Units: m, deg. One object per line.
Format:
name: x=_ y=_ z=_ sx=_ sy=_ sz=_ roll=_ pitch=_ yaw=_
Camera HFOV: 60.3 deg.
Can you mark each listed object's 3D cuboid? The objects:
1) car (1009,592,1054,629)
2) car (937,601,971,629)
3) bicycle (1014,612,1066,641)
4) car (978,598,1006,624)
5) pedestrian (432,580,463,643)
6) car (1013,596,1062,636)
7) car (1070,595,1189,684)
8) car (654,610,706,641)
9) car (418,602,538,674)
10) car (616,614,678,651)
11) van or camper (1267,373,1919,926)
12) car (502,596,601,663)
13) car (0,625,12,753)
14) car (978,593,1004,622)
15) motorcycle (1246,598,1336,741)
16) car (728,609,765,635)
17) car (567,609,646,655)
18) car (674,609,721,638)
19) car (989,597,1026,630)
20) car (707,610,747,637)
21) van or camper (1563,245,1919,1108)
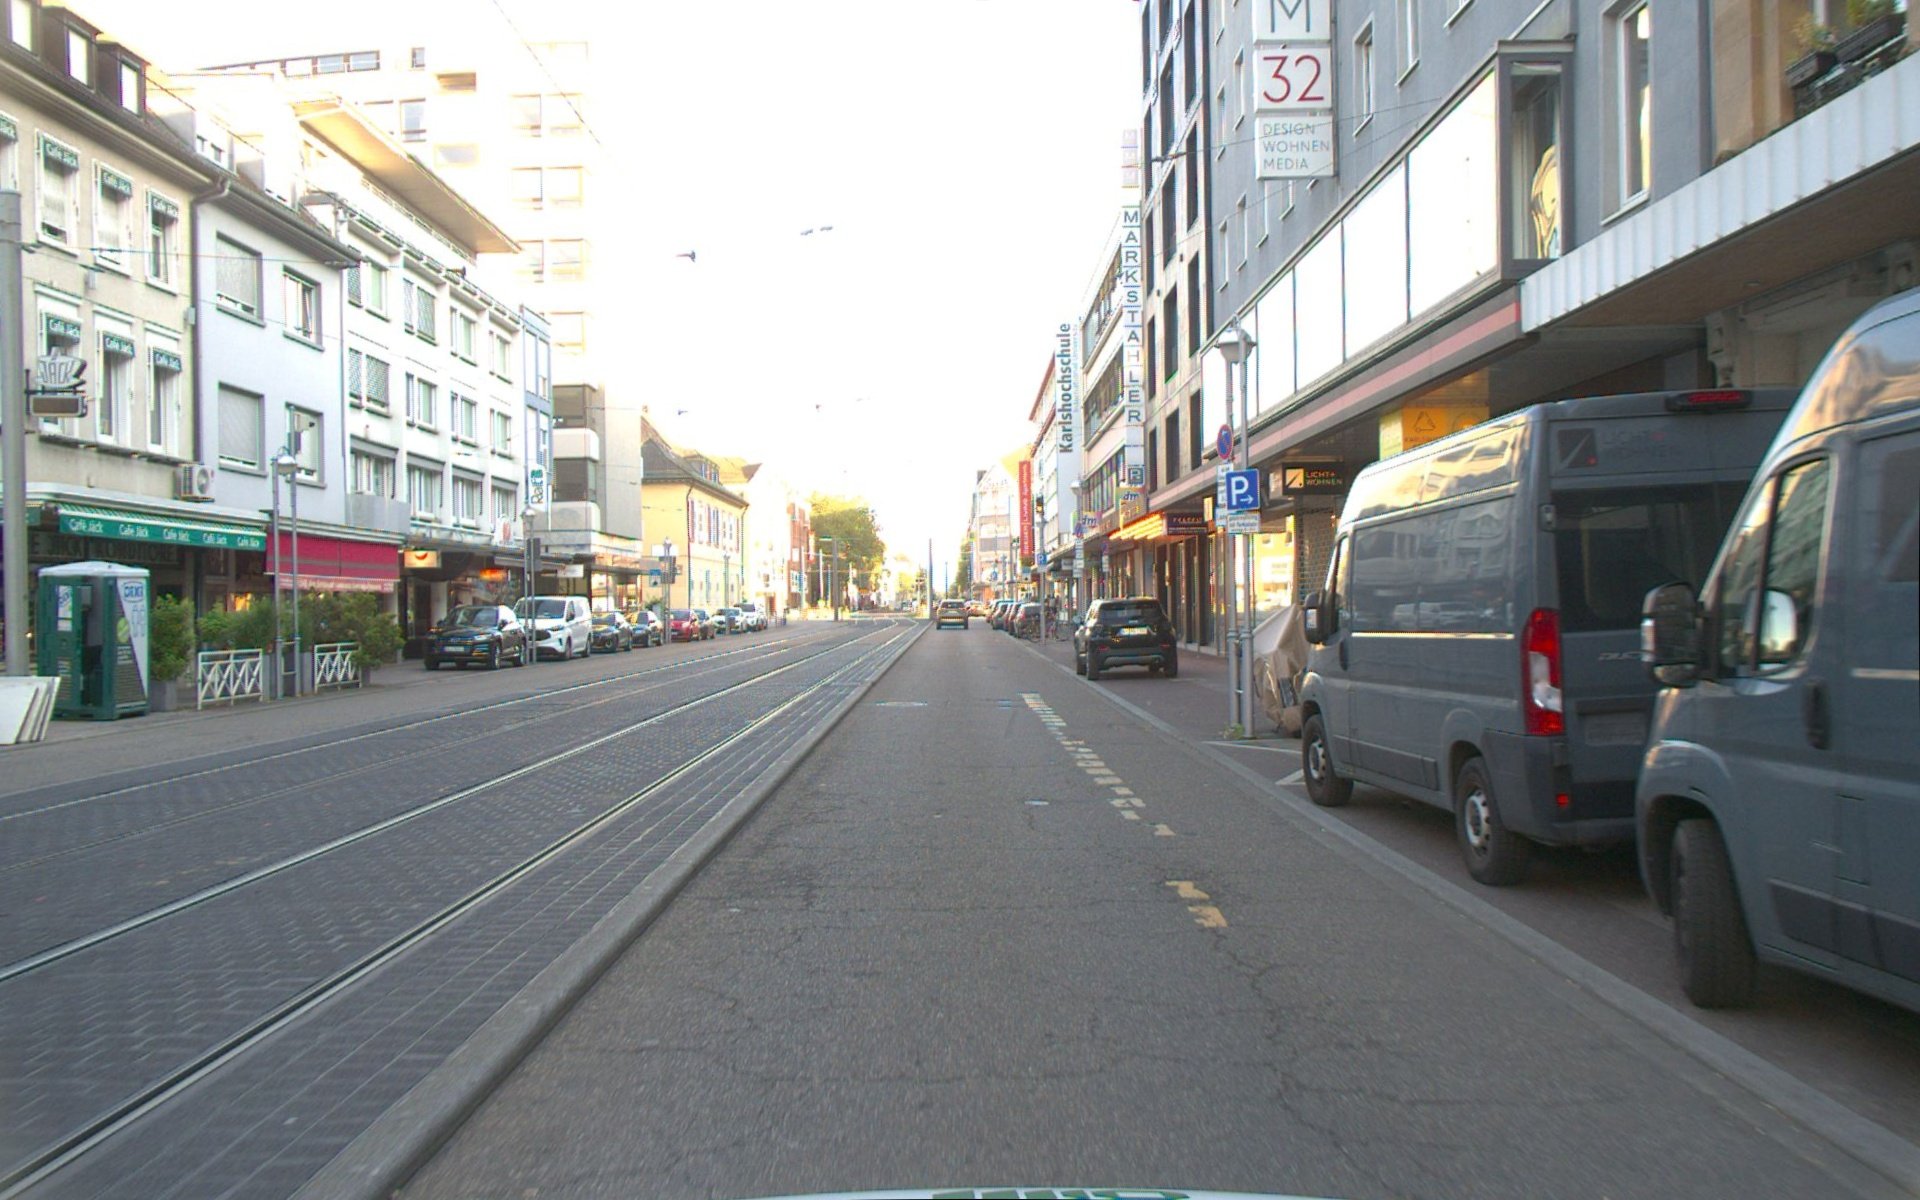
car: x=3.306 y=0.490 z=77.321 sx=1.904 sy=1.571 sz=4.545 roll=-3 pitch=0 yaw=0
car: x=-0.339 y=0.836 z=95.901 sx=1.904 sy=1.572 sz=4.545 roll=0 pitch=0 yaw=0
bicycle: x=3.273 y=1.081 z=67.766 sx=2.076 sy=1.109 sz=0.591 roll=-1 pitch=0 yaw=-3
car: x=2.297 y=0.757 z=119.621 sx=1.904 sy=1.733 sz=4.545 roll=-3 pitch=0 yaw=0
pedestrian: x=-15.439 y=0.352 z=49.851 sx=0.635 sy=1.852 sz=0.837 roll=2 pitch=0 yaw=0
car: x=3.314 y=0.665 z=71.445 sx=1.904 sy=1.571 sz=4.545 roll=-3 pitch=0 yaw=0
car: x=3.342 y=0.741 z=33.455 sx=1.904 sy=1.571 sz=4.545 roll=-3 pitch=0 yaw=0
car: x=-12.879 y=1.152 z=76.315 sx=1.754 sy=1.362 sz=3.890 roll=1 pitch=0 yaw=-1
car: x=-12.911 y=0.983 z=44.559 sx=1.878 sy=1.794 sz=4.429 roll=1 pitch=0 yaw=0
car: x=-12.495 y=1.269 z=66.216 sx=1.754 sy=1.362 sz=3.890 roll=1 pitch=0 yaw=-1
van or camper: x=3.659 y=0.224 z=10.475 sx=2.145 sy=2.468 sz=5.516 roll=-3 pitch=0 yaw=-2
car: x=-12.869 y=0.905 z=52.387 sx=1.878 sy=1.969 sz=4.841 roll=1 pitch=0 yaw=0
car: x=-12.476 y=1.048 z=17.713 sx=1.811 sy=1.531 sz=4.841 roll=1 pitch=0 yaw=0
car: x=2.434 y=0.576 z=131.471 sx=1.904 sy=2.183 sz=4.545 roll=-3 pitch=0 yaw=0
motorcycle: x=3.628 y=0.729 z=18.282 sx=0.795 sy=1.441 sz=2.006 roll=-2 pitch=0 yaw=8
car: x=-12.973 y=1.323 z=100.786 sx=1.754 sy=1.475 sz=3.890 roll=1 pitch=0 yaw=-1
car: x=-12.749 y=1.138 z=59.919 sx=1.878 sy=1.547 sz=4.629 roll=1 pitch=0 yaw=-1
car: x=-12.934 y=1.131 z=81.644 sx=1.754 sy=1.362 sz=3.890 roll=1 pitch=0 yaw=-1
car: x=2.663 y=0.753 z=92.979 sx=1.904 sy=1.733 sz=4.545 roll=-3 pitch=0 yaw=0
car: x=-13.323 y=1.335 z=94.731 sx=1.754 sy=1.475 sz=3.890 roll=1 pitch=0 yaw=-1
van or camper: x=3.806 y=0.183 z=4.194 sx=2.144 sy=2.468 sz=6.131 roll=-3 pitch=0 yaw=-1
